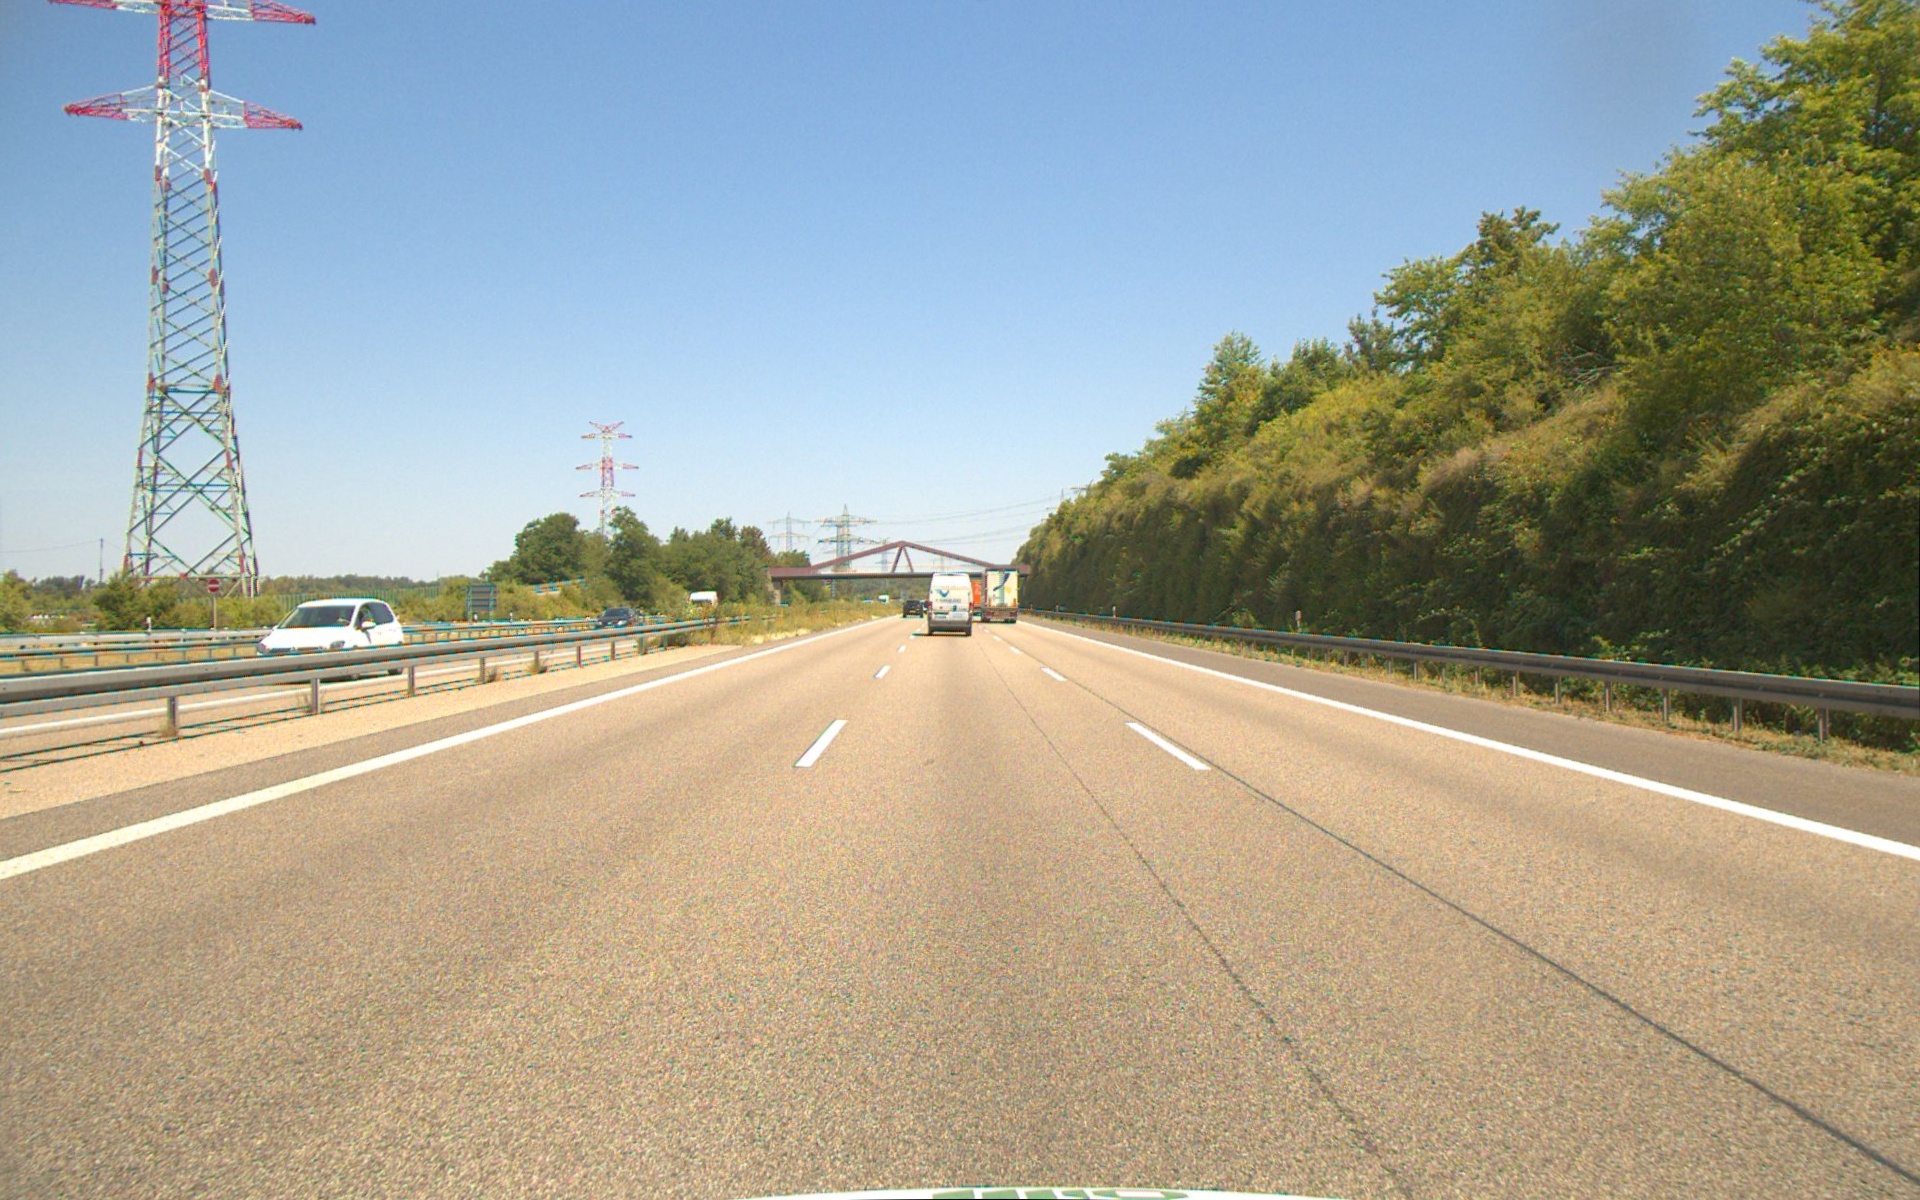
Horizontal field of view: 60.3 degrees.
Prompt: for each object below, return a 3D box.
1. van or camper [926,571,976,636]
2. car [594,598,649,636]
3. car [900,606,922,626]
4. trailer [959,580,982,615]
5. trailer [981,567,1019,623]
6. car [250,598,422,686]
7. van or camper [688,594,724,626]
[{"bbox_3d":[-0.436,0.143,76.084,2.185,2.831,5.422,2,0,-1],"label":"van or camper"},{"bbox_3d":[-17.617,0.854,86.271,1.914,1.842,5.045,2,0,-2],"label":"car"},{"bbox_3d":[-4.706,1.498,159.567,1.941,1.849,3.813,2,0,1],"label":"car"},{"bbox_3d":[1.221,-0.315,194.156,2.583,3.965,7.068,2,0,0],"label":"trailer"},{"bbox_3d":[3.103,-0.361,129.720,2.583,4.131,12.365,2,0,0],"label":"trailer"},{"bbox_3d":[-12.330,0.780,33.005,1.683,1.556,4.665,-2,0,-1],"label":"car"},{"bbox_3d":[-21.407,0.833,139.531,2.017,2.569,6.389,2,0,-1],"label":"van or camper"}]
